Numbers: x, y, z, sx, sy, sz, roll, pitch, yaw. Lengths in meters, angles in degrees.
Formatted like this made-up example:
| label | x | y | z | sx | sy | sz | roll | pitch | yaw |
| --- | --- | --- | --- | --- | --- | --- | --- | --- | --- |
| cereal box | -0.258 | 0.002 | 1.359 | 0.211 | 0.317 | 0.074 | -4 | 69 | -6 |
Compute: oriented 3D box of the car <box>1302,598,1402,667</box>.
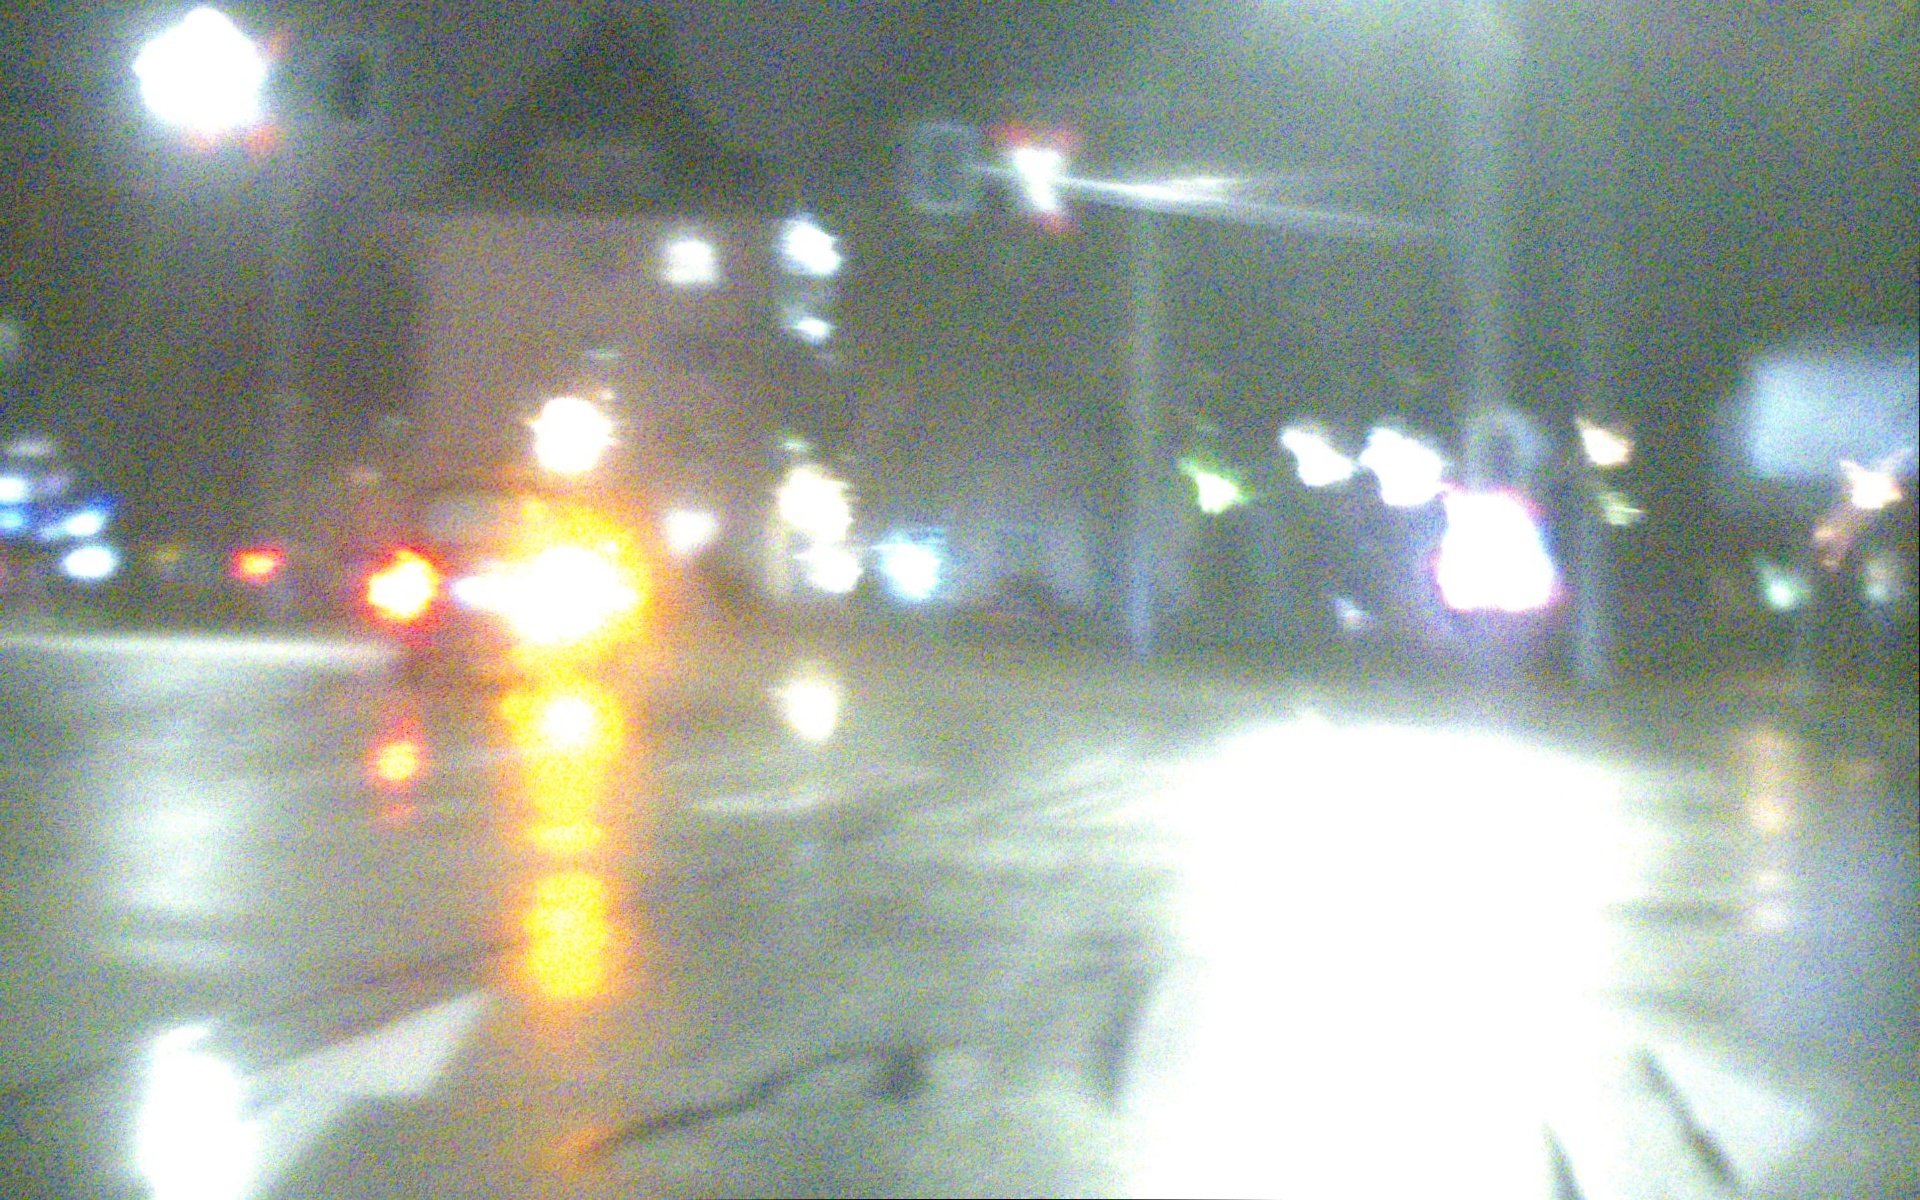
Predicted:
| label | x | y | z | sx | sy | sz | roll | pitch | yaw |
| --- | --- | --- | --- | --- | --- | --- | --- | --- | --- |
| car | 9.040 | 0.735 | 79.488 | 1.716 | 1.492 | 3.912 | 2 | 0 | -2 |

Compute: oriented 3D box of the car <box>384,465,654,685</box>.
| label | x | y | z | sx | sy | sz | roll | pitch | yaw |
| --- | --- | --- | --- | --- | --- | --- | --- | --- | --- |
| car | -4.357 | -0.227 | 34.684 | 1.993 | 2.007 | 4.557 | 2 | 0 | 1 |

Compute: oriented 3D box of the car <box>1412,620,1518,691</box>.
| label | x | y | z | sx | sy | sz | roll | pitch | yaw |
| --- | --- | --- | --- | --- | --- | --- | --- | --- | --- |
| car | 11.648 | 1.273 | 79.492 | 1.716 | 1.531 | 3.912 | 2 | 0 | -2 |

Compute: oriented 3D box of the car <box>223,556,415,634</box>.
| label | x | y | z | sx | sy | sz | roll | pitch | yaw |
| --- | --- | --- | --- | --- | --- | --- | --- | --- | --- |
| car | -15.053 | -0.106 | 80.814 | 3.988 | 1.678 | 1.918 | 2 | 0 | 7 |

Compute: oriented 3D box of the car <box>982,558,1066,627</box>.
| label | x | y | z | sx | sy | sz | roll | pitch | yaw |
| --- | --- | --- | --- | --- | --- | --- | --- | --- | --- |
| car | 1.453 | -0.164 | 79.634 | 1.716 | 1.492 | 3.912 | 2 | 0 | -2 |
